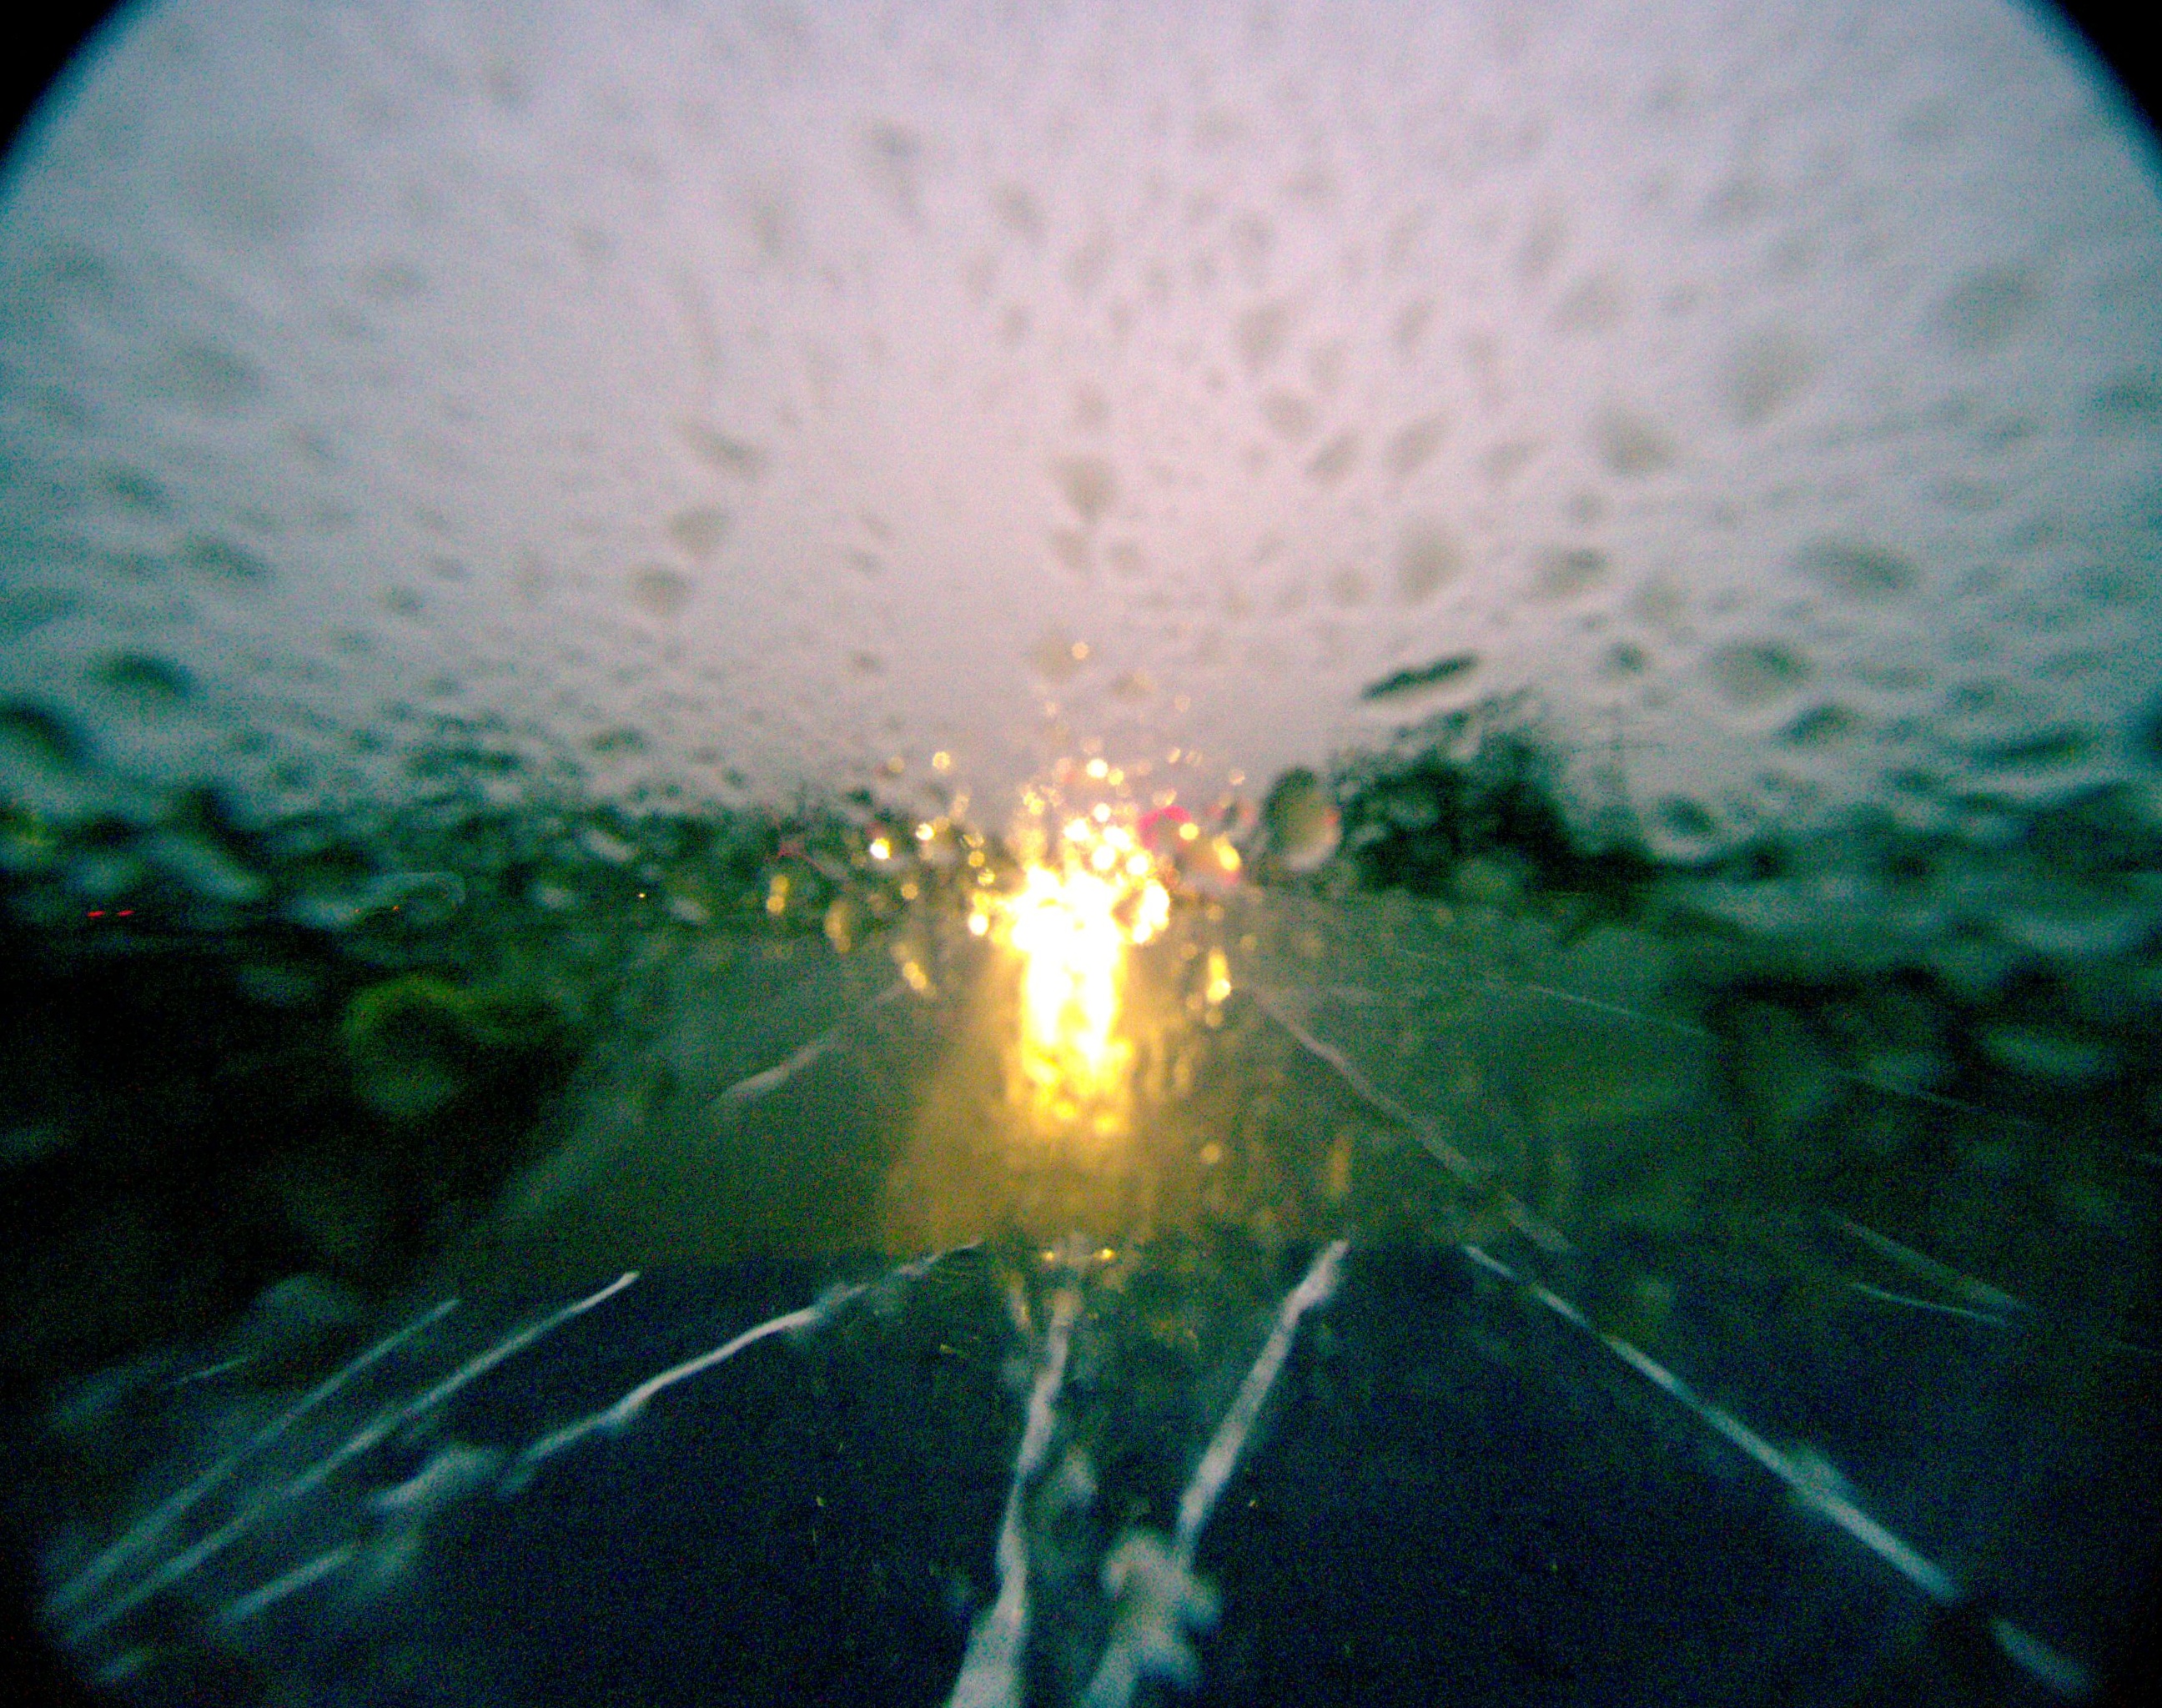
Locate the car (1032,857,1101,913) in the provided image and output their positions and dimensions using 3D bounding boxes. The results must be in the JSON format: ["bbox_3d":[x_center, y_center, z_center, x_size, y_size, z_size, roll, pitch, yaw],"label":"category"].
[{"bbox_3d":[-0.406,0.883,23.451,1.886,1.513,4.000,-2,0,0],"label":"car"}]

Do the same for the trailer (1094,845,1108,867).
[{"bbox_3d":[4.374,0.446,170.284,2.635,4.557,13.324,0,0,-1],"label":"trailer"}]

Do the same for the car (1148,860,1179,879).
[{"bbox_3d":[6.868,1.271,63.580,1.999,1.463,4.471,0,0,-2],"label":"car"}]

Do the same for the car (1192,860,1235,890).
[{"bbox_3d":[7.181,1.096,41.462,1.651,1.492,4.000,1,0,0],"label":"car"}]

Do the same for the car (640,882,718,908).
[{"bbox_3d":[-26.856,2.737,50.804,4.384,1.406,1.738,-3,-1,-32],"label":"car"}]

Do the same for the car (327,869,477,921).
[{"bbox_3d":[-40.858,2.456,45.938,6.393,2.947,2.287,0,-2,-14],"label":"car"}]

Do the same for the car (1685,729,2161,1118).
[{"bbox_3d":[6.840,0.365,4.844,1.876,2.125,5.180,-1,0,0],"label":"car"}]

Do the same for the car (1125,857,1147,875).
[{"bbox_3d":[6.490,1.380,89.774,1.999,2.002,4.998,-3,0,-2],"label":"car"}]
